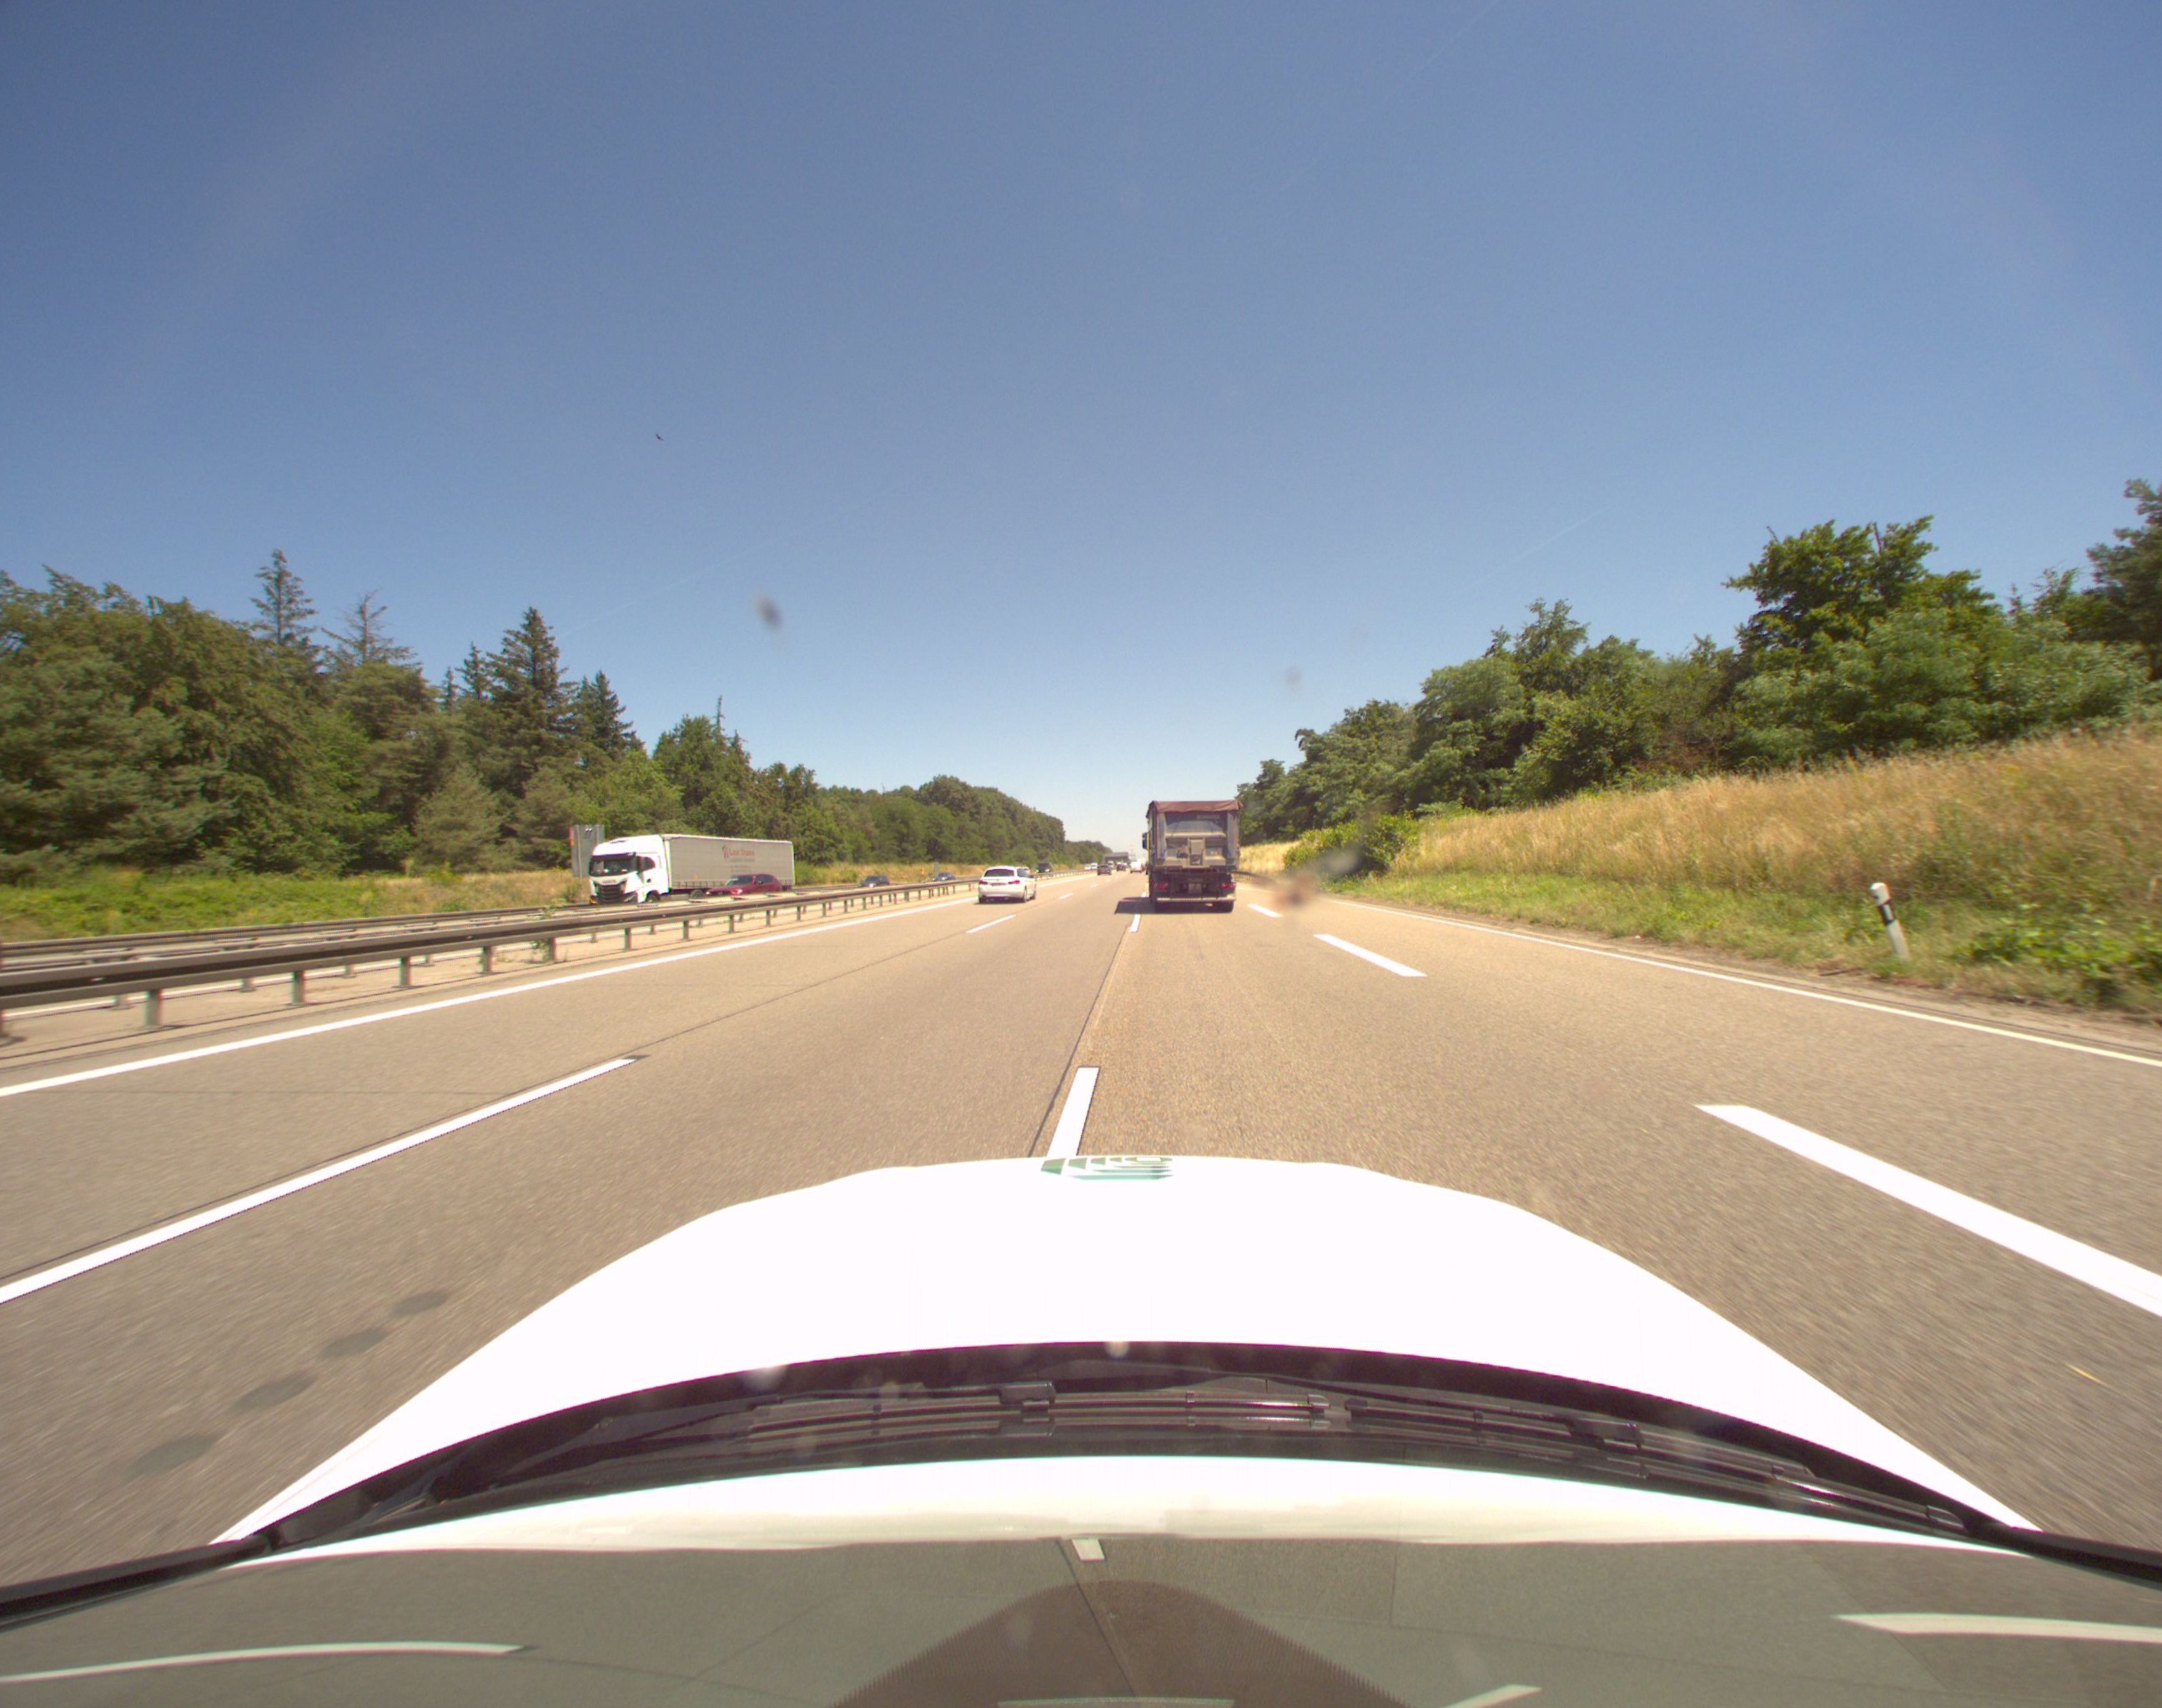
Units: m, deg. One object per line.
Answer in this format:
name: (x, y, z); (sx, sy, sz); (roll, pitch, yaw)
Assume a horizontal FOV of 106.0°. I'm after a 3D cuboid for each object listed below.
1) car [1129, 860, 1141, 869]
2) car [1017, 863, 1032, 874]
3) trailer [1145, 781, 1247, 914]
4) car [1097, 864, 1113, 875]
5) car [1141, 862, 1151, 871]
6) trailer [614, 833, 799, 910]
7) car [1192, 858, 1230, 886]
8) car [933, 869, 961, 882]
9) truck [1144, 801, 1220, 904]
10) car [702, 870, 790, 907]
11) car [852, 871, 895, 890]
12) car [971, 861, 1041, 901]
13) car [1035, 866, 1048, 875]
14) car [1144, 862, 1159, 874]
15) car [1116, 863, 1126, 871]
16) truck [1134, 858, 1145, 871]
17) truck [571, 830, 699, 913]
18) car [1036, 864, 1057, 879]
car: (8.561, 1.659, 129.289); (1.885, 1.469, 4.267); (0, 0, 5)
car: (-10.447, 2.728, 150.484); (1.984, 1.828, 4.648); (-4, -1, 5)
trailer: (3.639, -0.179, 27.833); (2.725, 3.758, 9.119); (-1, 0, 4)
car: (3.310, 2.140, 110.947); (1.823, 1.431, 5.006); (-1, 0, 5)
car: (11.864, 2.310, 148.258); (1.726, 1.492, 3.742); (-1, -1, 5)
trailer: (-21.786, 0.962, 49.041); (3.151, 3.931, 13.990); (-1, -1, 7)
car: (7.378, 1.010, 46.447); (1.712, 1.491, 3.740); (-1, 0, 3)
car: (-15.548, 2.484, 94.803); (1.917, 1.463, 4.949); (-2, -1, 5)
truck: (3.977, -0.053, 33.146); (2.672, 3.758, 5.950); (-1, 0, 4)
car: (-16.043, 1.626, 39.266); (1.838, 1.610, 4.928); (-1, -1, 5)
car: (-18.372, 2.333, 72.405); (2.075, 1.463, 4.949); (-2, -1, 5)
car: (-3.032, 1.076, 34.014); (1.954, 1.504, 5.412); (-1, -1, 5)
car: (-8.297, 3.332, 169.812); (1.984, 1.703, 4.986); (-4, -1, 5)
car: (9.488, 1.888, 109.560); (1.824, 1.672, 4.003); (0, -1, 3)
car: (8.195, 2.650, 166.854); (1.867, 1.580, 3.933); (-1, 0, 5)
truck: (13.180, 2.454, 182.716); (2.418, 2.884, 6.210); (-1, -1, 3)
truck: (-22.663, 0.878, 41.750); (3.151, 3.931, 5.410); (-1, -1, 7)
car: (-4.866, 2.436, 116.264); (2.269, 1.940, 4.949); (-2, -1, 5)
